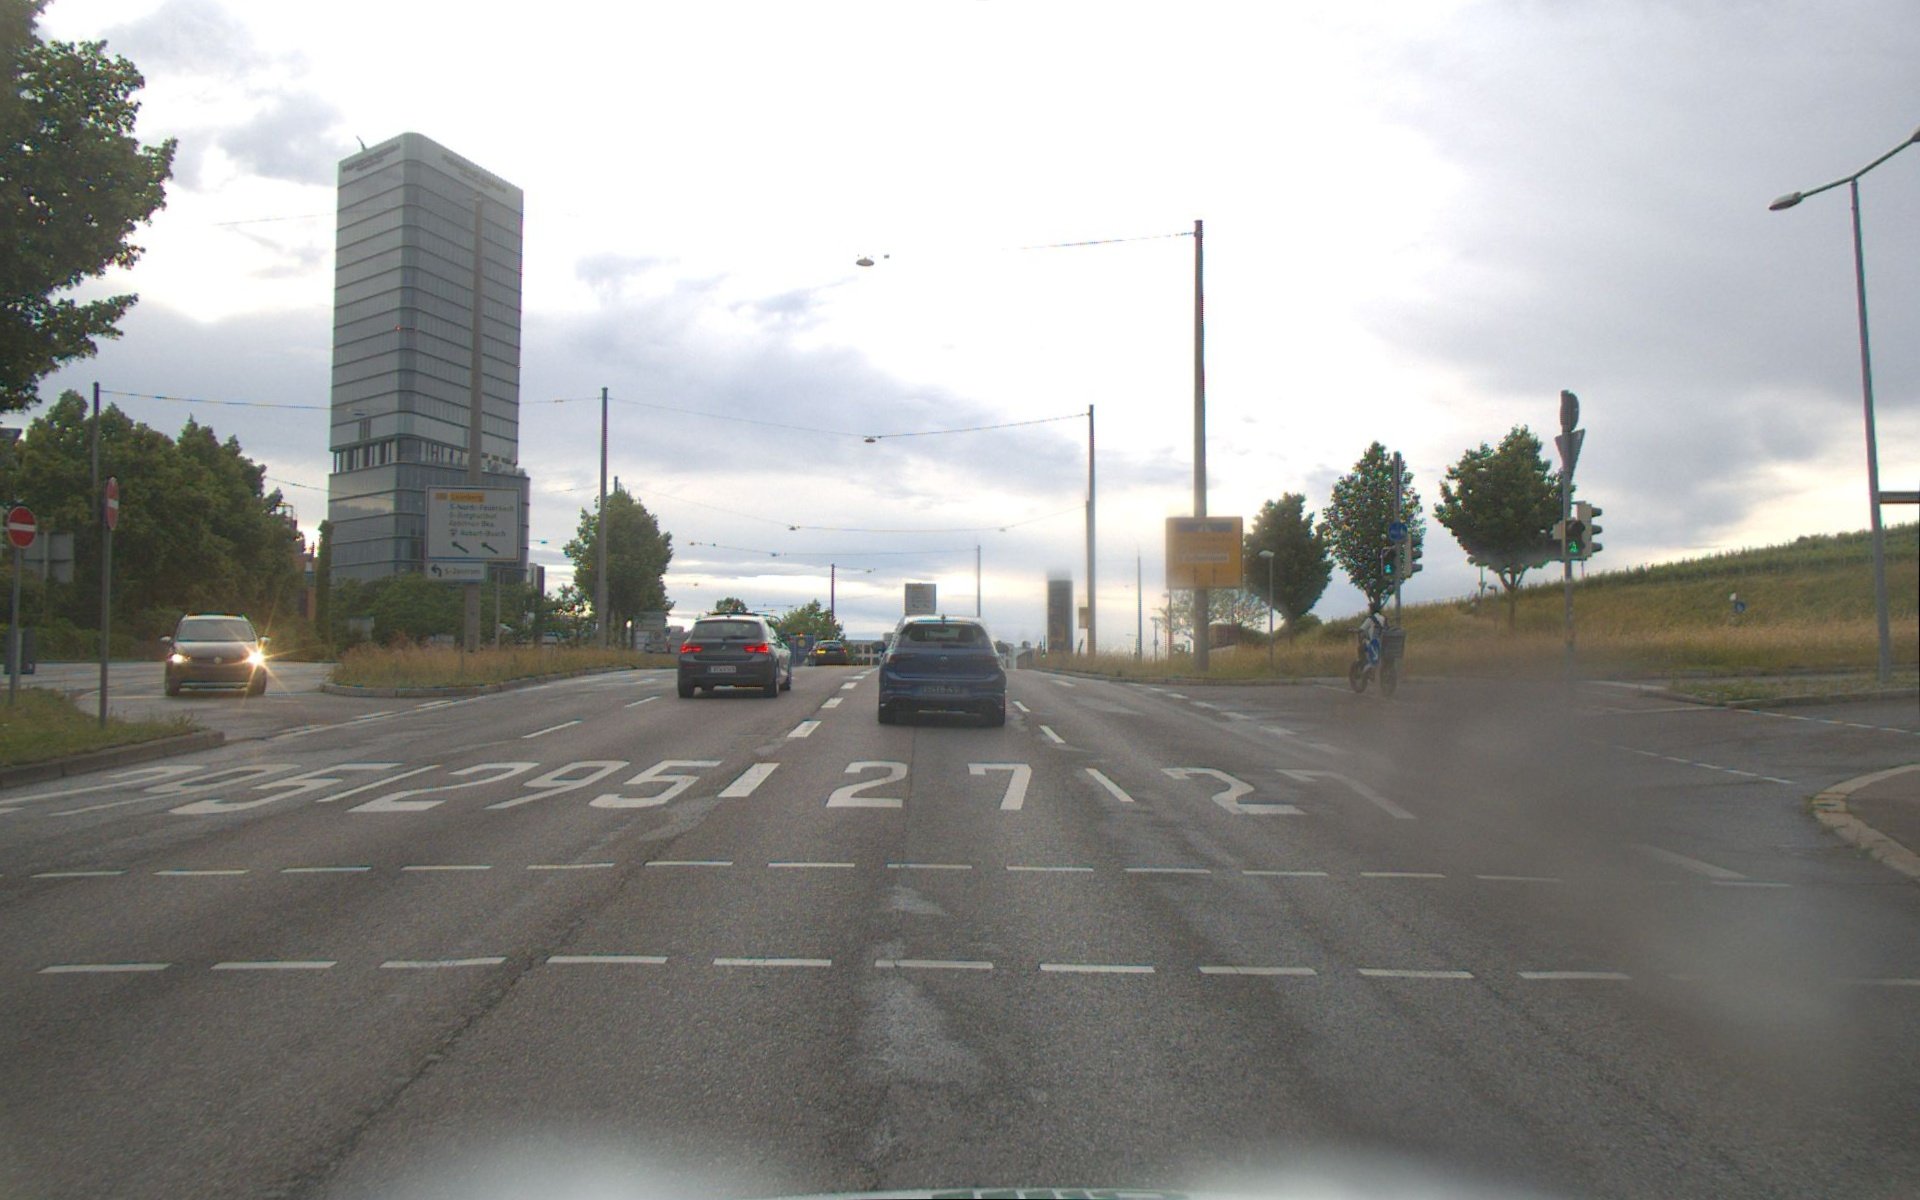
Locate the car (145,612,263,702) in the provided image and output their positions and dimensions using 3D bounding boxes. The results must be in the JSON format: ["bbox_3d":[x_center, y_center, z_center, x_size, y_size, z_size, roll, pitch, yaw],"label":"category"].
[{"bbox_3d":[-14.105,1.021,31.022,1.864,1.533,3.971,-1,-1,-23],"label":"car"}]

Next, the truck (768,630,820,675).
[{"bbox_3d":[-12.938,4.118,128.305,2.625,3.277,6.513,2,-3,-18],"label":"truck"}]

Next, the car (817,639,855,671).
[{"bbox_3d":[-6.756,2.982,90.343,1.686,1.568,3.703,2,0,1],"label":"car"}]

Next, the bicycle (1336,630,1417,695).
[{"bbox_3d":[7.637,1.131,30.406,0.622,1.124,1.746,-3,0,-15],"label":"bicycle"}]

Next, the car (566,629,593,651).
[{"bbox_3d":[-29.910,3.181,129.959,1.862,1.687,4.585,1,-2,-16],"label":"car"}]

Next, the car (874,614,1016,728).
[{"bbox_3d":[-0.203,0.938,23.476,1.800,1.418,4.000,2,0,0],"label":"car"}]

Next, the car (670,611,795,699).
[{"bbox_3d":[-4.066,0.948,30.135,1.831,1.487,3.974,0,0,-2],"label":"car"}]

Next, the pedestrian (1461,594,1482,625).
[{"bbox_3d":[33.703,0.637,108.947,0.771,2.049,1.043,-1,-1,-34],"label":"pedestrian"}]

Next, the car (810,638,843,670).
[{"bbox_3d":[-9.072,3.655,111.816,1.869,2.008,5.081,0,-3,-9],"label":"car"}]

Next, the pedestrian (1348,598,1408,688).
[{"bbox_3d":[7.644,0.774,30.273,0.622,1.598,0.892,-3,0,-16],"label":"pedestrian"}]
